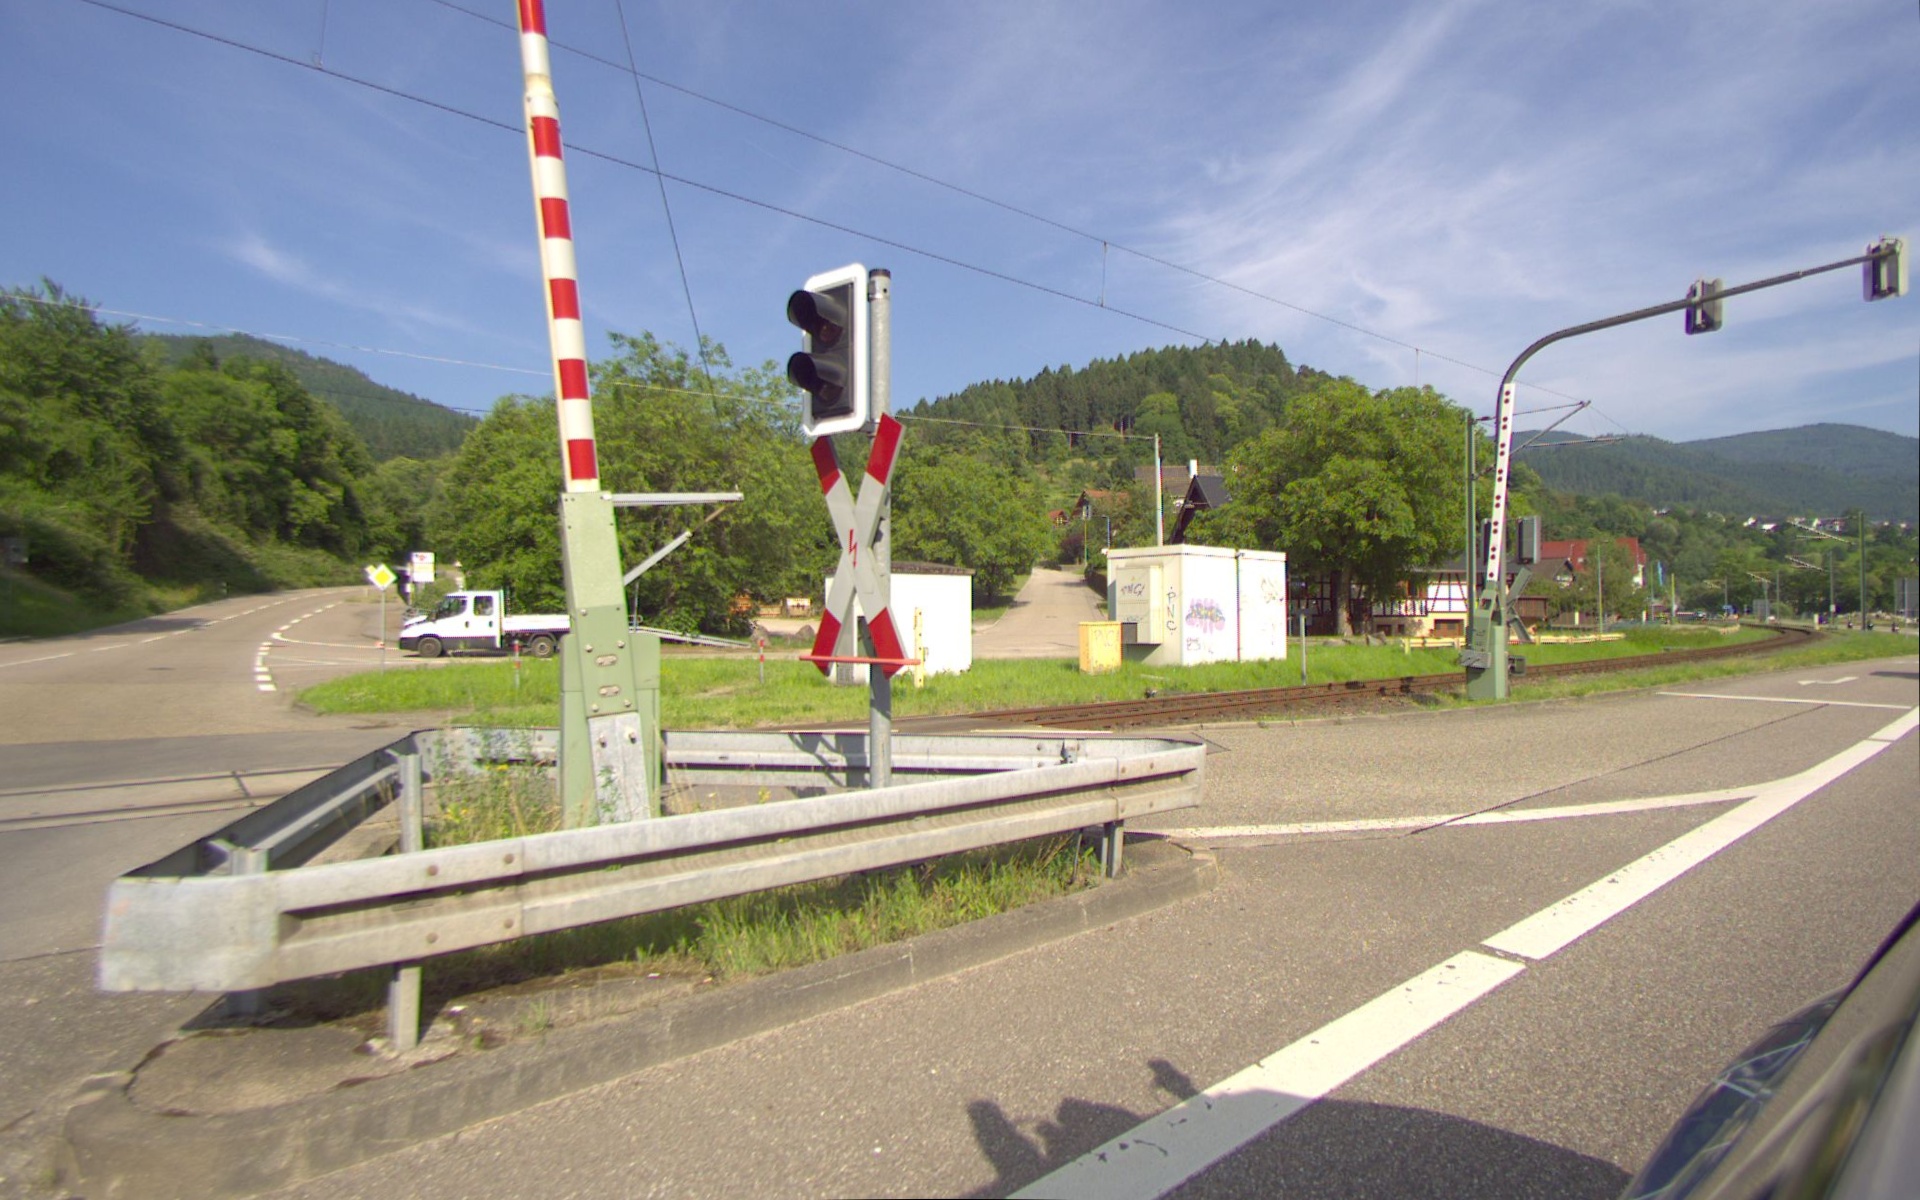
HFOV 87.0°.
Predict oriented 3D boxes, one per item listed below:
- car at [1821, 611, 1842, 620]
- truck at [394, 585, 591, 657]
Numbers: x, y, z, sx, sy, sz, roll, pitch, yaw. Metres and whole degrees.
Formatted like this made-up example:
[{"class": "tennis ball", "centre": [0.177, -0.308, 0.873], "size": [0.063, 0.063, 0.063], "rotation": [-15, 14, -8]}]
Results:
[{"class": "car", "centre": [161.001, 2.831, 186.966], "size": [1.981, 1.683, 3.962], "rotation": [-1, -1, 27]}, {"class": "truck", "centre": [-15.628, 0.637, 34.259], "size": [5.812, 2.260, 2.413], "rotation": [0, 1, -18]}]
